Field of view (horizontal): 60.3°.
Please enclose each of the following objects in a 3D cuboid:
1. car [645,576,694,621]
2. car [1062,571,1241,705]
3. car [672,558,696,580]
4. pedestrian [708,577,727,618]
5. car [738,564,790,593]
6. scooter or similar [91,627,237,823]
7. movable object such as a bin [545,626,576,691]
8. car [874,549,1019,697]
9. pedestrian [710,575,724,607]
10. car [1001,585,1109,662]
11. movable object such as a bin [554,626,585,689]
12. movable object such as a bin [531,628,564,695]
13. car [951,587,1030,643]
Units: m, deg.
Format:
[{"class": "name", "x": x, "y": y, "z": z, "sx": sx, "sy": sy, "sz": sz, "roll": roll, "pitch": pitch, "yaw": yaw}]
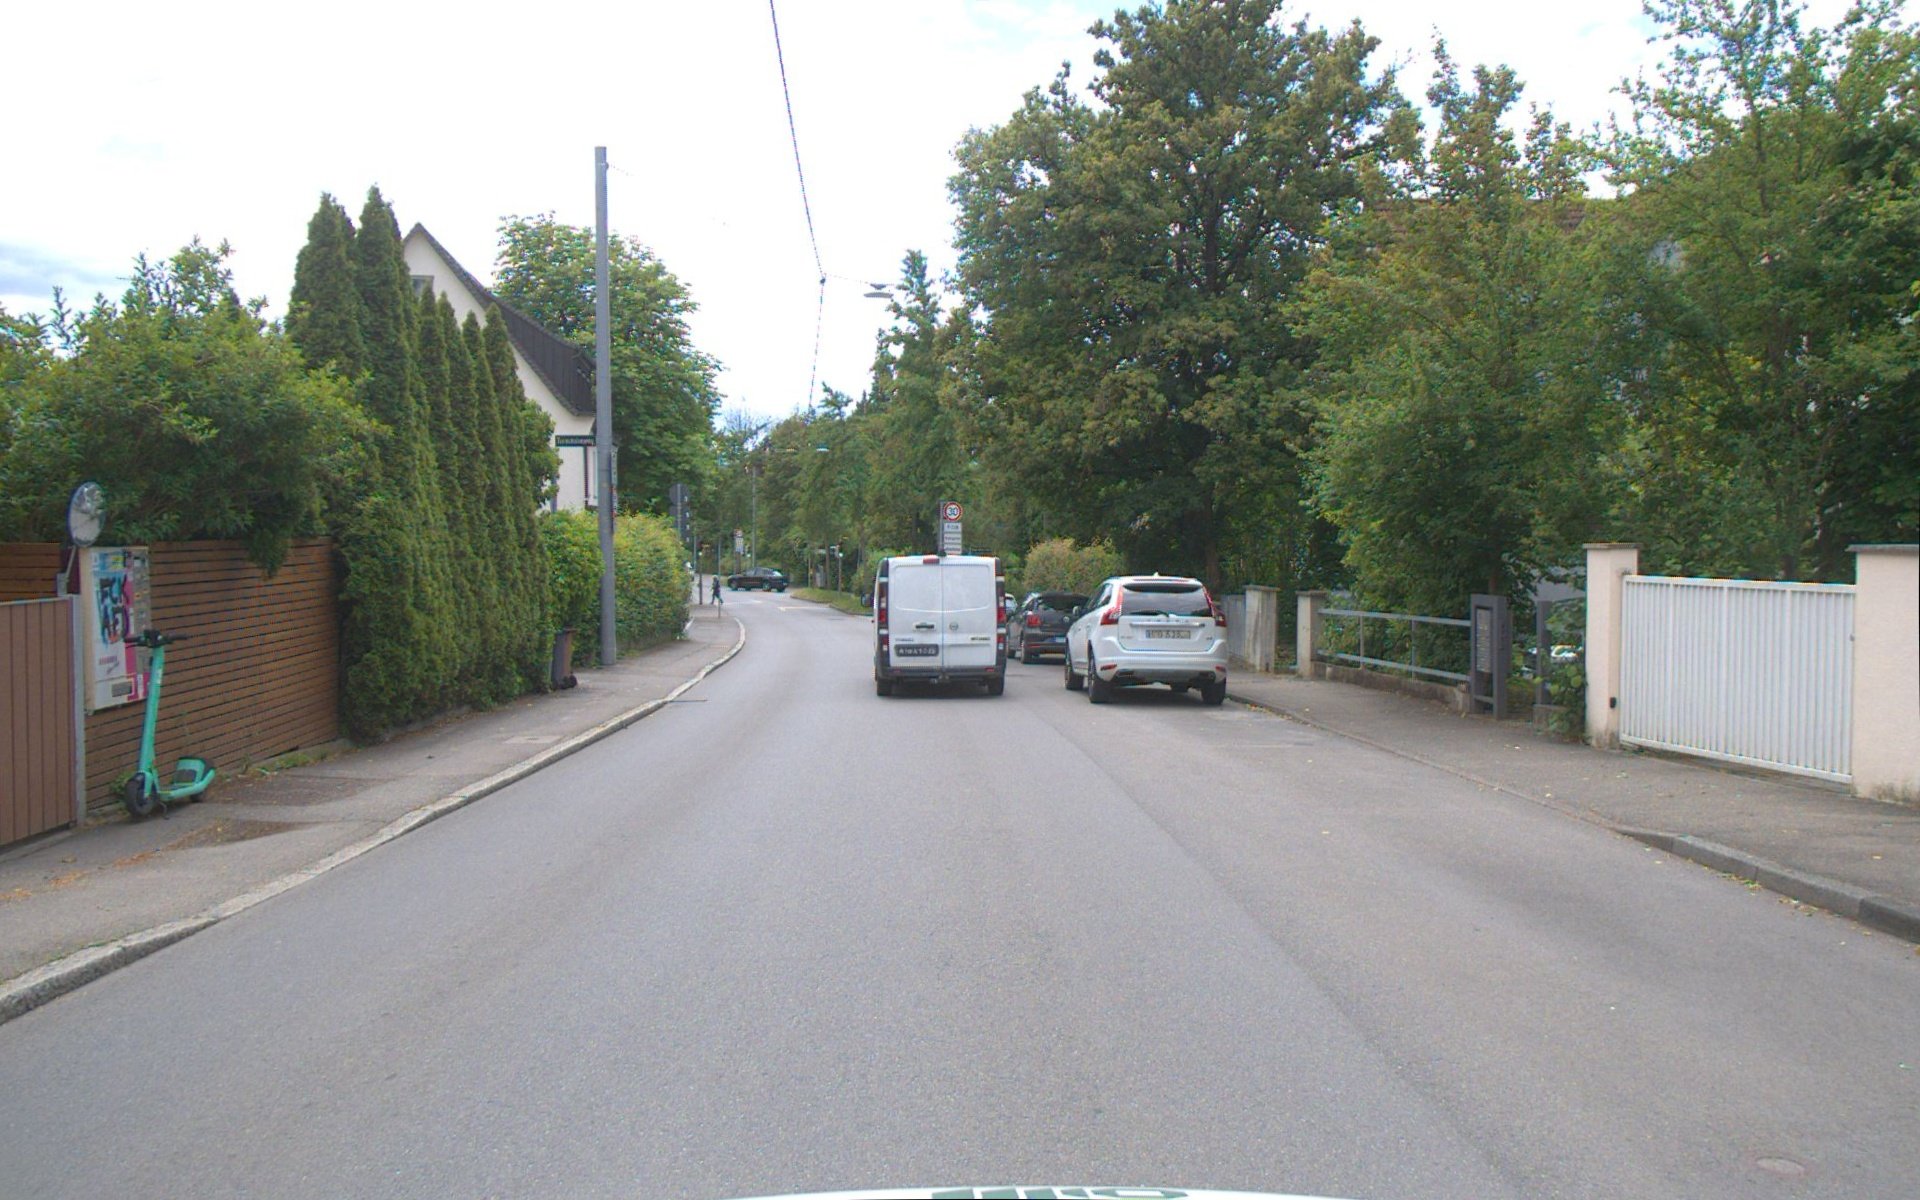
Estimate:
[{"class": "car", "x": -10.935, "y": -0.068, "z": 62.392, "sx": 1.558, "sy": 1.565, "sz": 2.919, "roll": 2, "pitch": 1, "yaw": -7}, {"class": "car", "x": 2.595, "y": 0.473, "z": 23.404, "sx": 1.828, "sy": 1.714, "sz": 4.348, "roll": 1, "pitch": 0, "yaw": -3}, {"class": "car", "x": -22.947, "y": -2.599, "z": 137.595, "sx": 1.791, "sy": 1.758, "sz": 3.994, "roll": 0, "pitch": 1, "yaw": -8}, {"class": "pedestrian", "x": -9.888, "y": -0.096, "z": 67.542, "sx": 0.692, "sy": 1.638, "sz": 0.576, "roll": -1, "pitch": 0, "yaw": -3}, {"class": "car", "x": -13.661, "y": -1.506, "z": 115.068, "sx": 1.879, "sy": 1.892, "sz": 4.355, "roll": 0, "pitch": 1, "yaw": -33}, {"class": "scooter or similar", "x": -5.250, "y": 0.792, "z": 10.961, "sx": 0.383, "sy": 1.191, "sz": 1.270, "roll": 0, "pitch": 0, "yaw": -2}, {"class": "movable object such as a bin", "x": -5.810, "y": 0.847, "z": 24.059, "sx": 0.329, "sy": 0.909, "sz": 0.476, "roll": 1, "pitch": 0, "yaw": 0}, {"class": "car", "x": -0.296, "y": 0.269, "z": 24.787, "sx": 1.892, "sy": 1.998, "sz": 4.398, "roll": 1, "pitch": 1, "yaw": -4}, {"class": "pedestrian", "x": -12.904, "y": -0.473, "z": 87.885, "sx": 0.684, "sy": 1.644, "sz": 0.714, "roll": 0, "pitch": 2, "yaw": -7}, {"class": "car", "x": 1.922, "y": 0.455, "z": 34.565, "sx": 1.677, "sy": 1.513, "sz": 3.786, "roll": 1, "pitch": 0, "yaw": -6}, {"class": "movable object such as a bin", "x": -5.842, "y": 0.856, "z": 24.733, "sx": 0.329, "sy": 0.909, "sz": 0.476, "roll": 1, "pitch": 0, "yaw": 0}, {"class": "movable object such as a bin", "x": -5.843, "y": 0.868, "z": 23.446, "sx": 0.329, "sy": 0.909, "sz": 0.476, "roll": 1, "pitch": 0, "yaw": 0}, {"class": "car", "x": 0.807, "y": 0.381, "z": 45.625, "sx": 1.677, "sy": 1.437, "sz": 3.785, "roll": 2, "pitch": 0, "yaw": -6}]
